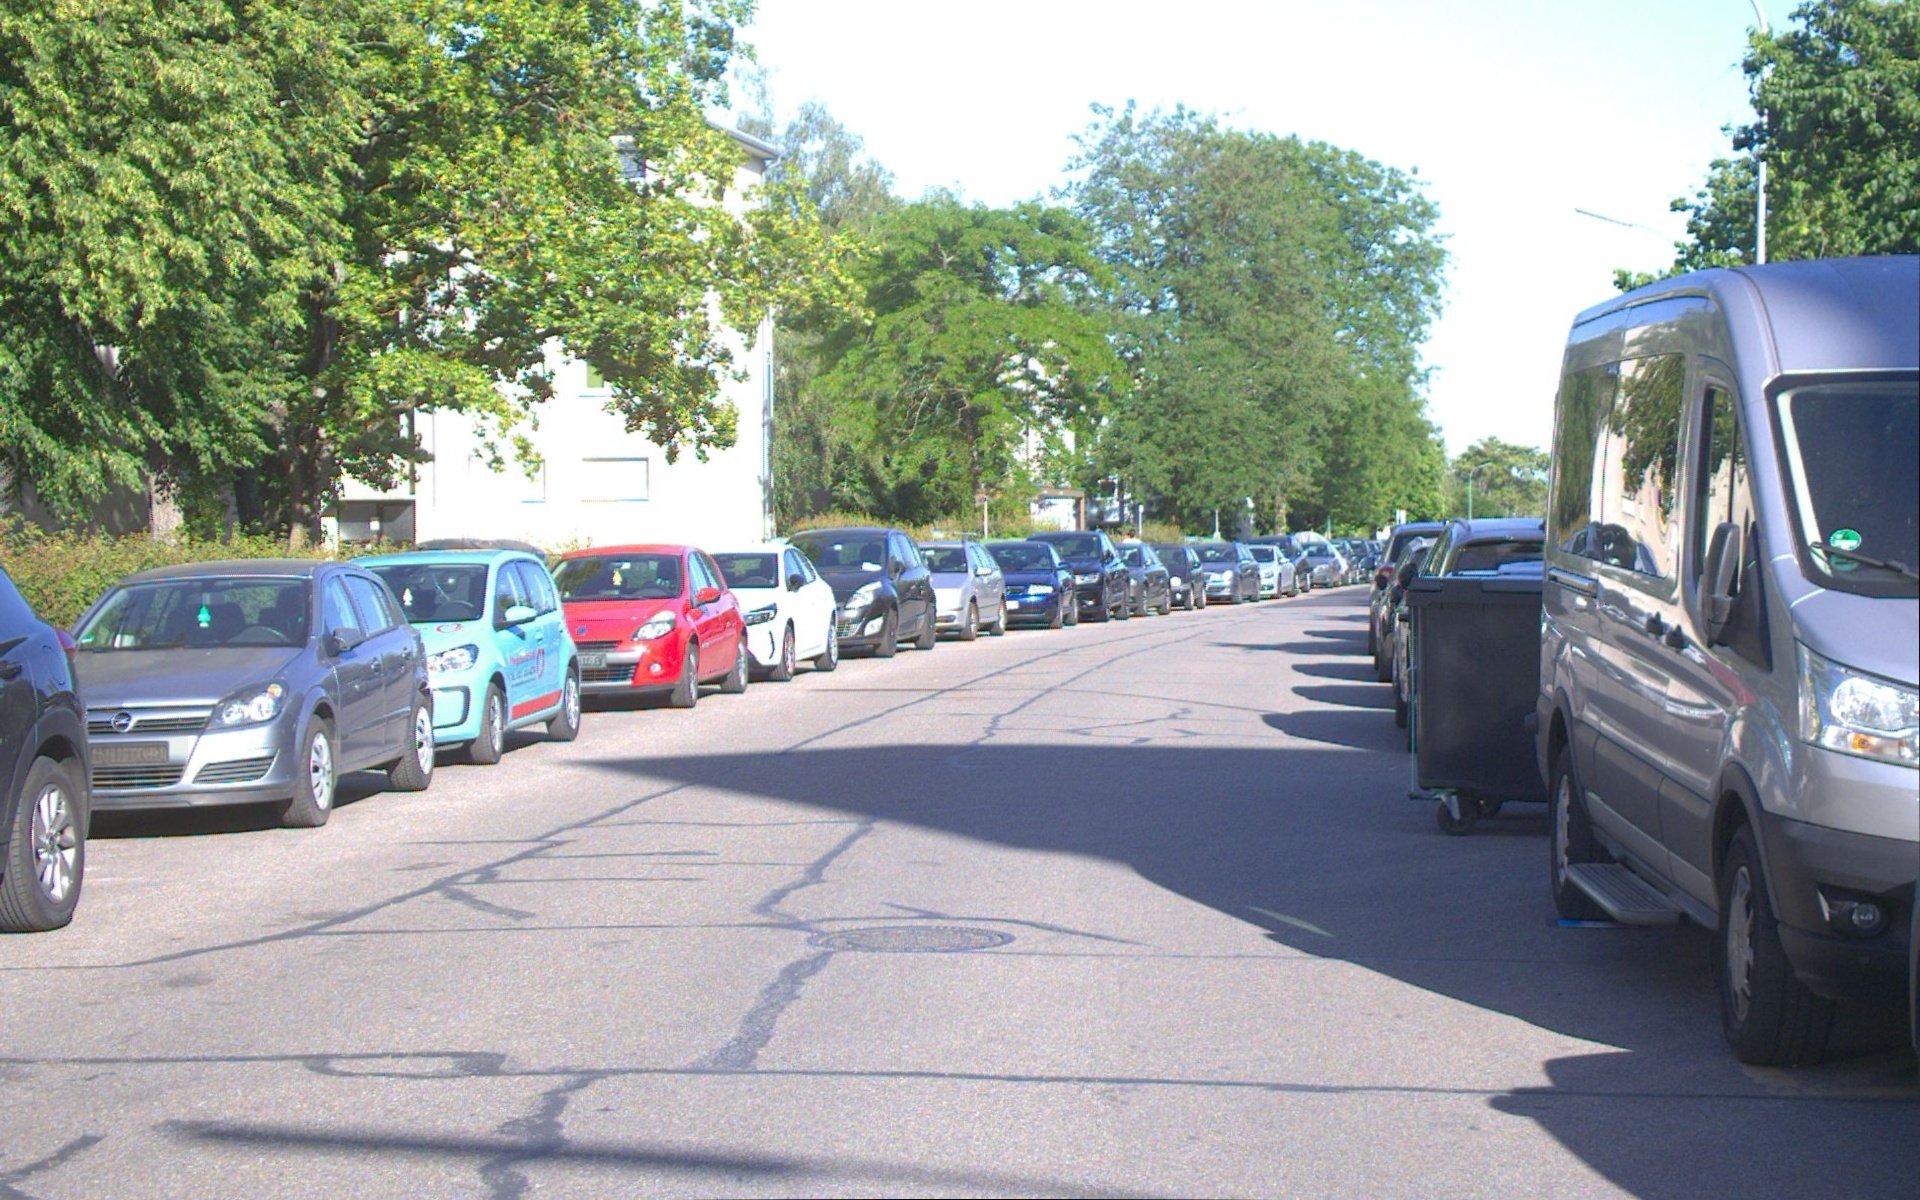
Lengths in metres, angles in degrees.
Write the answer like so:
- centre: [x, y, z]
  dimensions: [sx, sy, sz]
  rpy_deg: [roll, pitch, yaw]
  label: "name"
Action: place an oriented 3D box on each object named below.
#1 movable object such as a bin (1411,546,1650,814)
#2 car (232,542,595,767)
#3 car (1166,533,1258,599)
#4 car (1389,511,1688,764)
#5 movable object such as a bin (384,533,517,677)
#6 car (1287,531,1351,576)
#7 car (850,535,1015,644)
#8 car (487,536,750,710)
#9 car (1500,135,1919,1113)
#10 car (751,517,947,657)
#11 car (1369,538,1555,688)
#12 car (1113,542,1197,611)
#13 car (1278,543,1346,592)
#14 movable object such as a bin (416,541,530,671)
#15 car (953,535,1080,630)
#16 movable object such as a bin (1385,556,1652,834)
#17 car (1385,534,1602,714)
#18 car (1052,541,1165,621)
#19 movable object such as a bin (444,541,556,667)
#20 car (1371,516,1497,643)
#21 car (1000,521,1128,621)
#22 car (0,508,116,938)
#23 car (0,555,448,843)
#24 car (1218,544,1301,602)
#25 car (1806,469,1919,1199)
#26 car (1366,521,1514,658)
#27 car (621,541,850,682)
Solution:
- centre: [3.103, 0.410, 18.593]
  dimensions: [1.228, 1.392, 1.170]
  rpy_deg: [0, 1, 11]
  label: "movable object such as a bin"
- centre: [-3.864, 0.337, 24.892]
  dimensions: [1.671, 1.469, 3.677]
  rpy_deg: [-2, 1, 6]
  label: "car"
- centre: [5.941, -0.814, 80.815]
  dimensions: [1.510, 1.446, 3.688]
  rpy_deg: [-2, 1, 14]
  label: "car"
- centre: [4.174, 0.195, 25.403]
  dimensions: [1.810, 1.658, 4.461]
  rpy_deg: [1, 2, 5]
  label: "car"
- centre: [-5.446, 0.039, 36.832]
  dimensions: [1.111, 1.493, 1.408]
  rpy_deg: [0, 2, 4]
  label: "movable object such as a bin"
- centre: [11.301, -1.469, 108.114]
  dimensions: [1.510, 1.324, 3.465]
  rpy_deg: [-2, 1, 14]
  label: "car"
- centre: [-0.356, -0.178, 50.340]
  dimensions: [1.661, 1.481, 4.051]
  rpy_deg: [-2, 1, 10]
  label: "car"
- centre: [-3.077, 0.168, 31.666]
  dimensions: [1.671, 1.469, 3.677]
  rpy_deg: [-2, 1, 6]
  label: "car"
- centre: [3.250, 0.034, 11.623]
  dimensions: [2.105, 2.477, 5.855]
  rpy_deg: [1, 1, 2]
  label: "car"
- centre: [-1.357, -0.195, 43.835]
  dimensions: [1.671, 1.661, 4.405]
  rpy_deg: [-1, 1, 9]
  label: "car"
- centre: [5.299, 0.096, 36.703]
  dimensions: [1.682, 1.451, 4.291]
  rpy_deg: [2, 1, 5]
  label: "car"
- centre: [4.242, -0.514, 74.338]
  dimensions: [1.390, 1.408, 3.124]
  rpy_deg: [-2, 1, 10]
  label: "car"
- centre: [10.548, -0.989, 102.767]
  dimensions: [1.510, 1.377, 3.465]
  rpy_deg: [-2, 1, 14]
  label: "car"
- centre: [-5.436, 0.053, 38.471]
  dimensions: [0.988, 1.414, 1.314]
  rpy_deg: [0, 2, 4]
  label: "movable object such as a bin"
- centre: [0.956, -0.308, 55.728]
  dimensions: [1.660, 1.421, 4.048]
  rpy_deg: [-2, 1, 6]
  label: "car"
- centre: [2.852, 0.467, 17.451]
  dimensions: [1.269, 1.309, 1.122]
  rpy_deg: [-1, 2, 11]
  label: "movable object such as a bin"
- centre: [4.788, 0.179, 31.269]
  dimensions: [1.685, 1.482, 3.824]
  rpy_deg: [2, 1, 6]
  label: "car"
- centre: [2.888, -0.390, 66.278]
  dimensions: [1.661, 1.434, 3.758]
  rpy_deg: [-2, 1, 10]
  label: "car"
- centre: [-5.317, 0.031, 39.818]
  dimensions: [0.988, 1.414, 1.314]
  rpy_deg: [0, 2, 6]
  label: "movable object such as a bin"
- centre: [6.726, -0.313, 48.564]
  dimensions: [1.653, 1.693, 4.232]
  rpy_deg: [1, 1, 9]
  label: "car"
- centre: [1.892, -0.534, 61.387]
  dimensions: [1.661, 1.682, 4.048]
  rpy_deg: [-2, 1, 10]
  label: "car"
- centre: [-4.573, 0.492, 12.086]
  dimensions: [1.748, 1.612, 4.362]
  rpy_deg: [-1, 1, 6]
  label: "car"
- centre: [-4.205, 0.487, 19.675]
  dimensions: [1.670, 1.432, 4.000]
  rpy_deg: [-2, 1, 4]
  label: "car"
- centre: [7.590, -0.690, 86.929]
  dimensions: [1.510, 1.359, 3.465]
  rpy_deg: [-2, 1, 14]
  label: "car"
- centre: [3.128, 0.547, 6.567]
  dimensions: [1.909, 1.660, 4.375]
  rpy_deg: [0, 1, 0]
  label: "car"
- centre: [6.009, -0.164, 43.357]
  dimensions: [1.730, 1.613, 4.232]
  rpy_deg: [1, 1, 7]
  label: "car"
- centre: [-2.371, 0.085, 37.202]
  dimensions: [1.671, 1.416, 3.900]
  rpy_deg: [-1, 1, 8]
  label: "car"
